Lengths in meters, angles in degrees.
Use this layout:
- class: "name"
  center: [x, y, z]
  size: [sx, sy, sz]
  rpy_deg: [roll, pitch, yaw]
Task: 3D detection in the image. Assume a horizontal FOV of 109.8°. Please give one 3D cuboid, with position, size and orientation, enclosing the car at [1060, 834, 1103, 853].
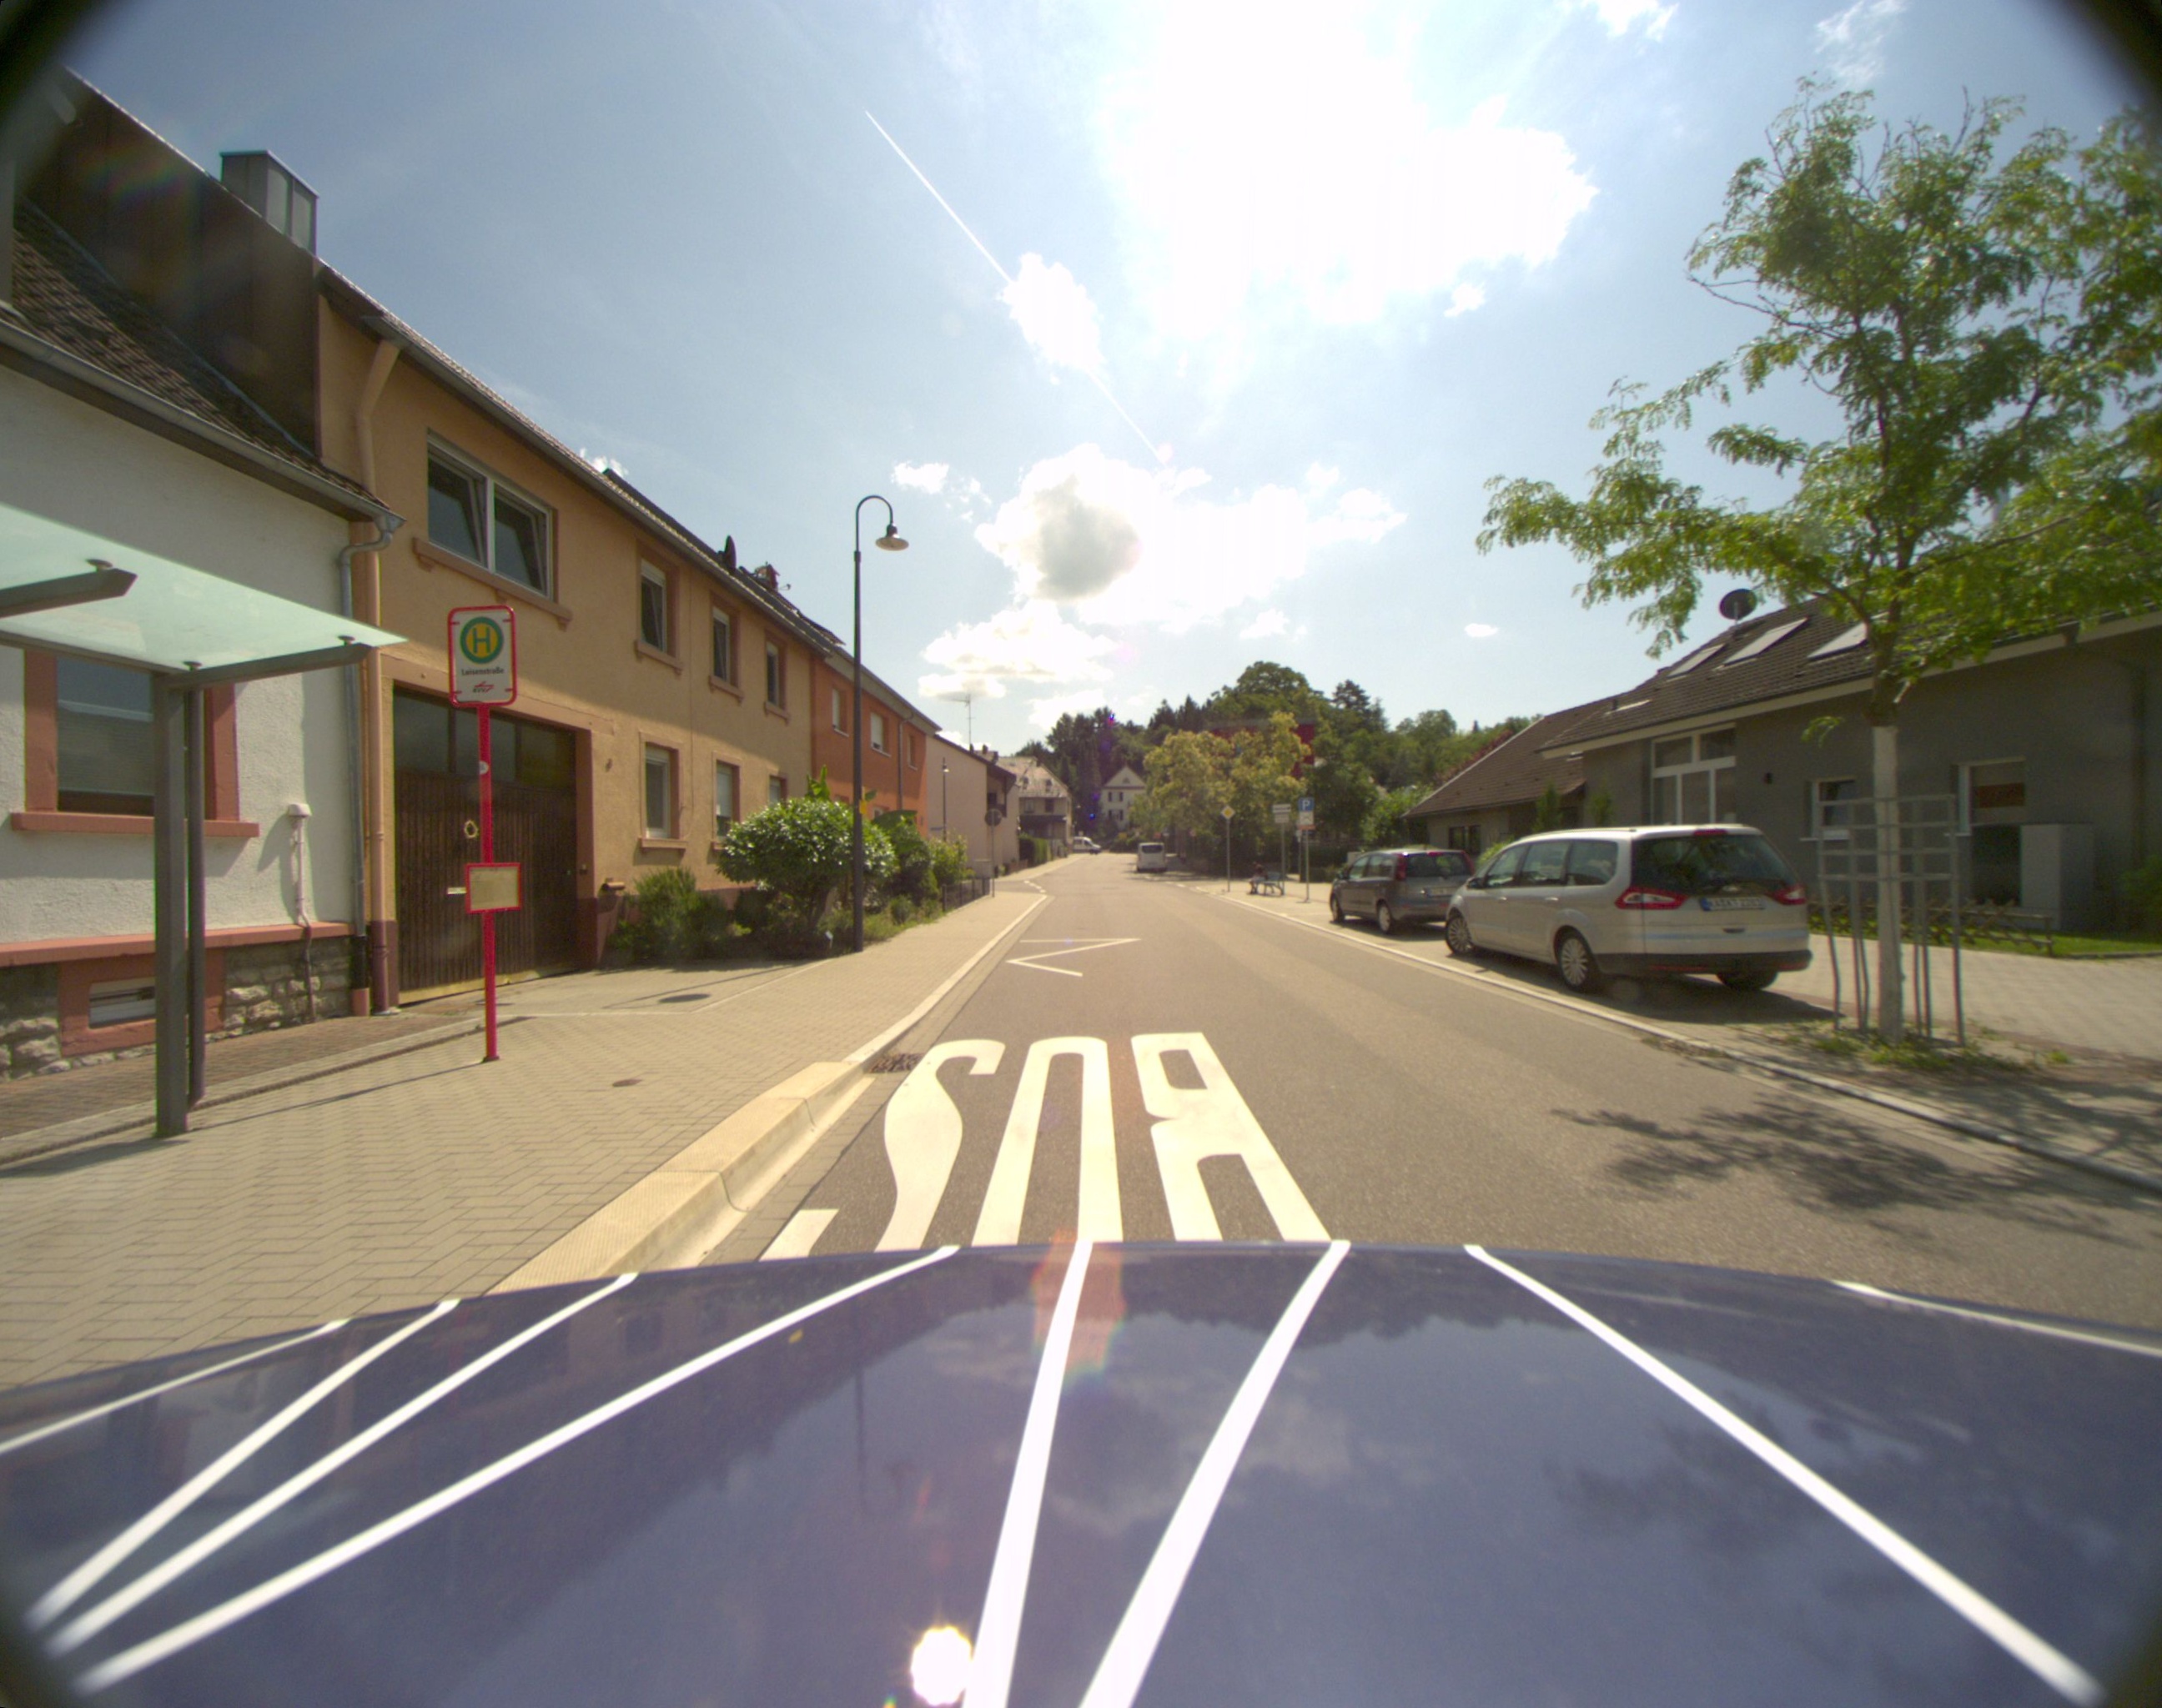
- class: "car"
  center: [0.052, -1.469, 105.030]
  size: [5.593, 2.306, 2.492]
  rpy_deg: [-2, 1, 7]

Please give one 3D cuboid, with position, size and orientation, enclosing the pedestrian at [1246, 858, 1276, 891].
- class: "pedestrian"
  center: [6.500, 0.736, 27.507]
  size: [0.815, 1.135, 0.885]
  rpy_deg: [-2, 1, -3]

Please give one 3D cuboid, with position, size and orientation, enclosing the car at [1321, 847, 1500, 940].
- class: "car"
  center: [6.208, 0.694, 14.847]
  size: [1.727, 1.515, 3.909]
  rpy_deg: [-2, -1, 0]

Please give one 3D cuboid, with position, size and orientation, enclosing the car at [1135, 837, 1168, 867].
- class: "car"
  center: [4.883, -0.155, 53.119]
  size: [1.998, 1.968, 3.999]
  rpy_deg: [-1, 1, 0]

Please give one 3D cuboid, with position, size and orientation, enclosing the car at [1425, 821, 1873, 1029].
- class: "car"
  center: [5.957, 0.642, 8.905]
  size: [1.844, 1.737, 4.687]
  rpy_deg: [-2, -1, 2]
